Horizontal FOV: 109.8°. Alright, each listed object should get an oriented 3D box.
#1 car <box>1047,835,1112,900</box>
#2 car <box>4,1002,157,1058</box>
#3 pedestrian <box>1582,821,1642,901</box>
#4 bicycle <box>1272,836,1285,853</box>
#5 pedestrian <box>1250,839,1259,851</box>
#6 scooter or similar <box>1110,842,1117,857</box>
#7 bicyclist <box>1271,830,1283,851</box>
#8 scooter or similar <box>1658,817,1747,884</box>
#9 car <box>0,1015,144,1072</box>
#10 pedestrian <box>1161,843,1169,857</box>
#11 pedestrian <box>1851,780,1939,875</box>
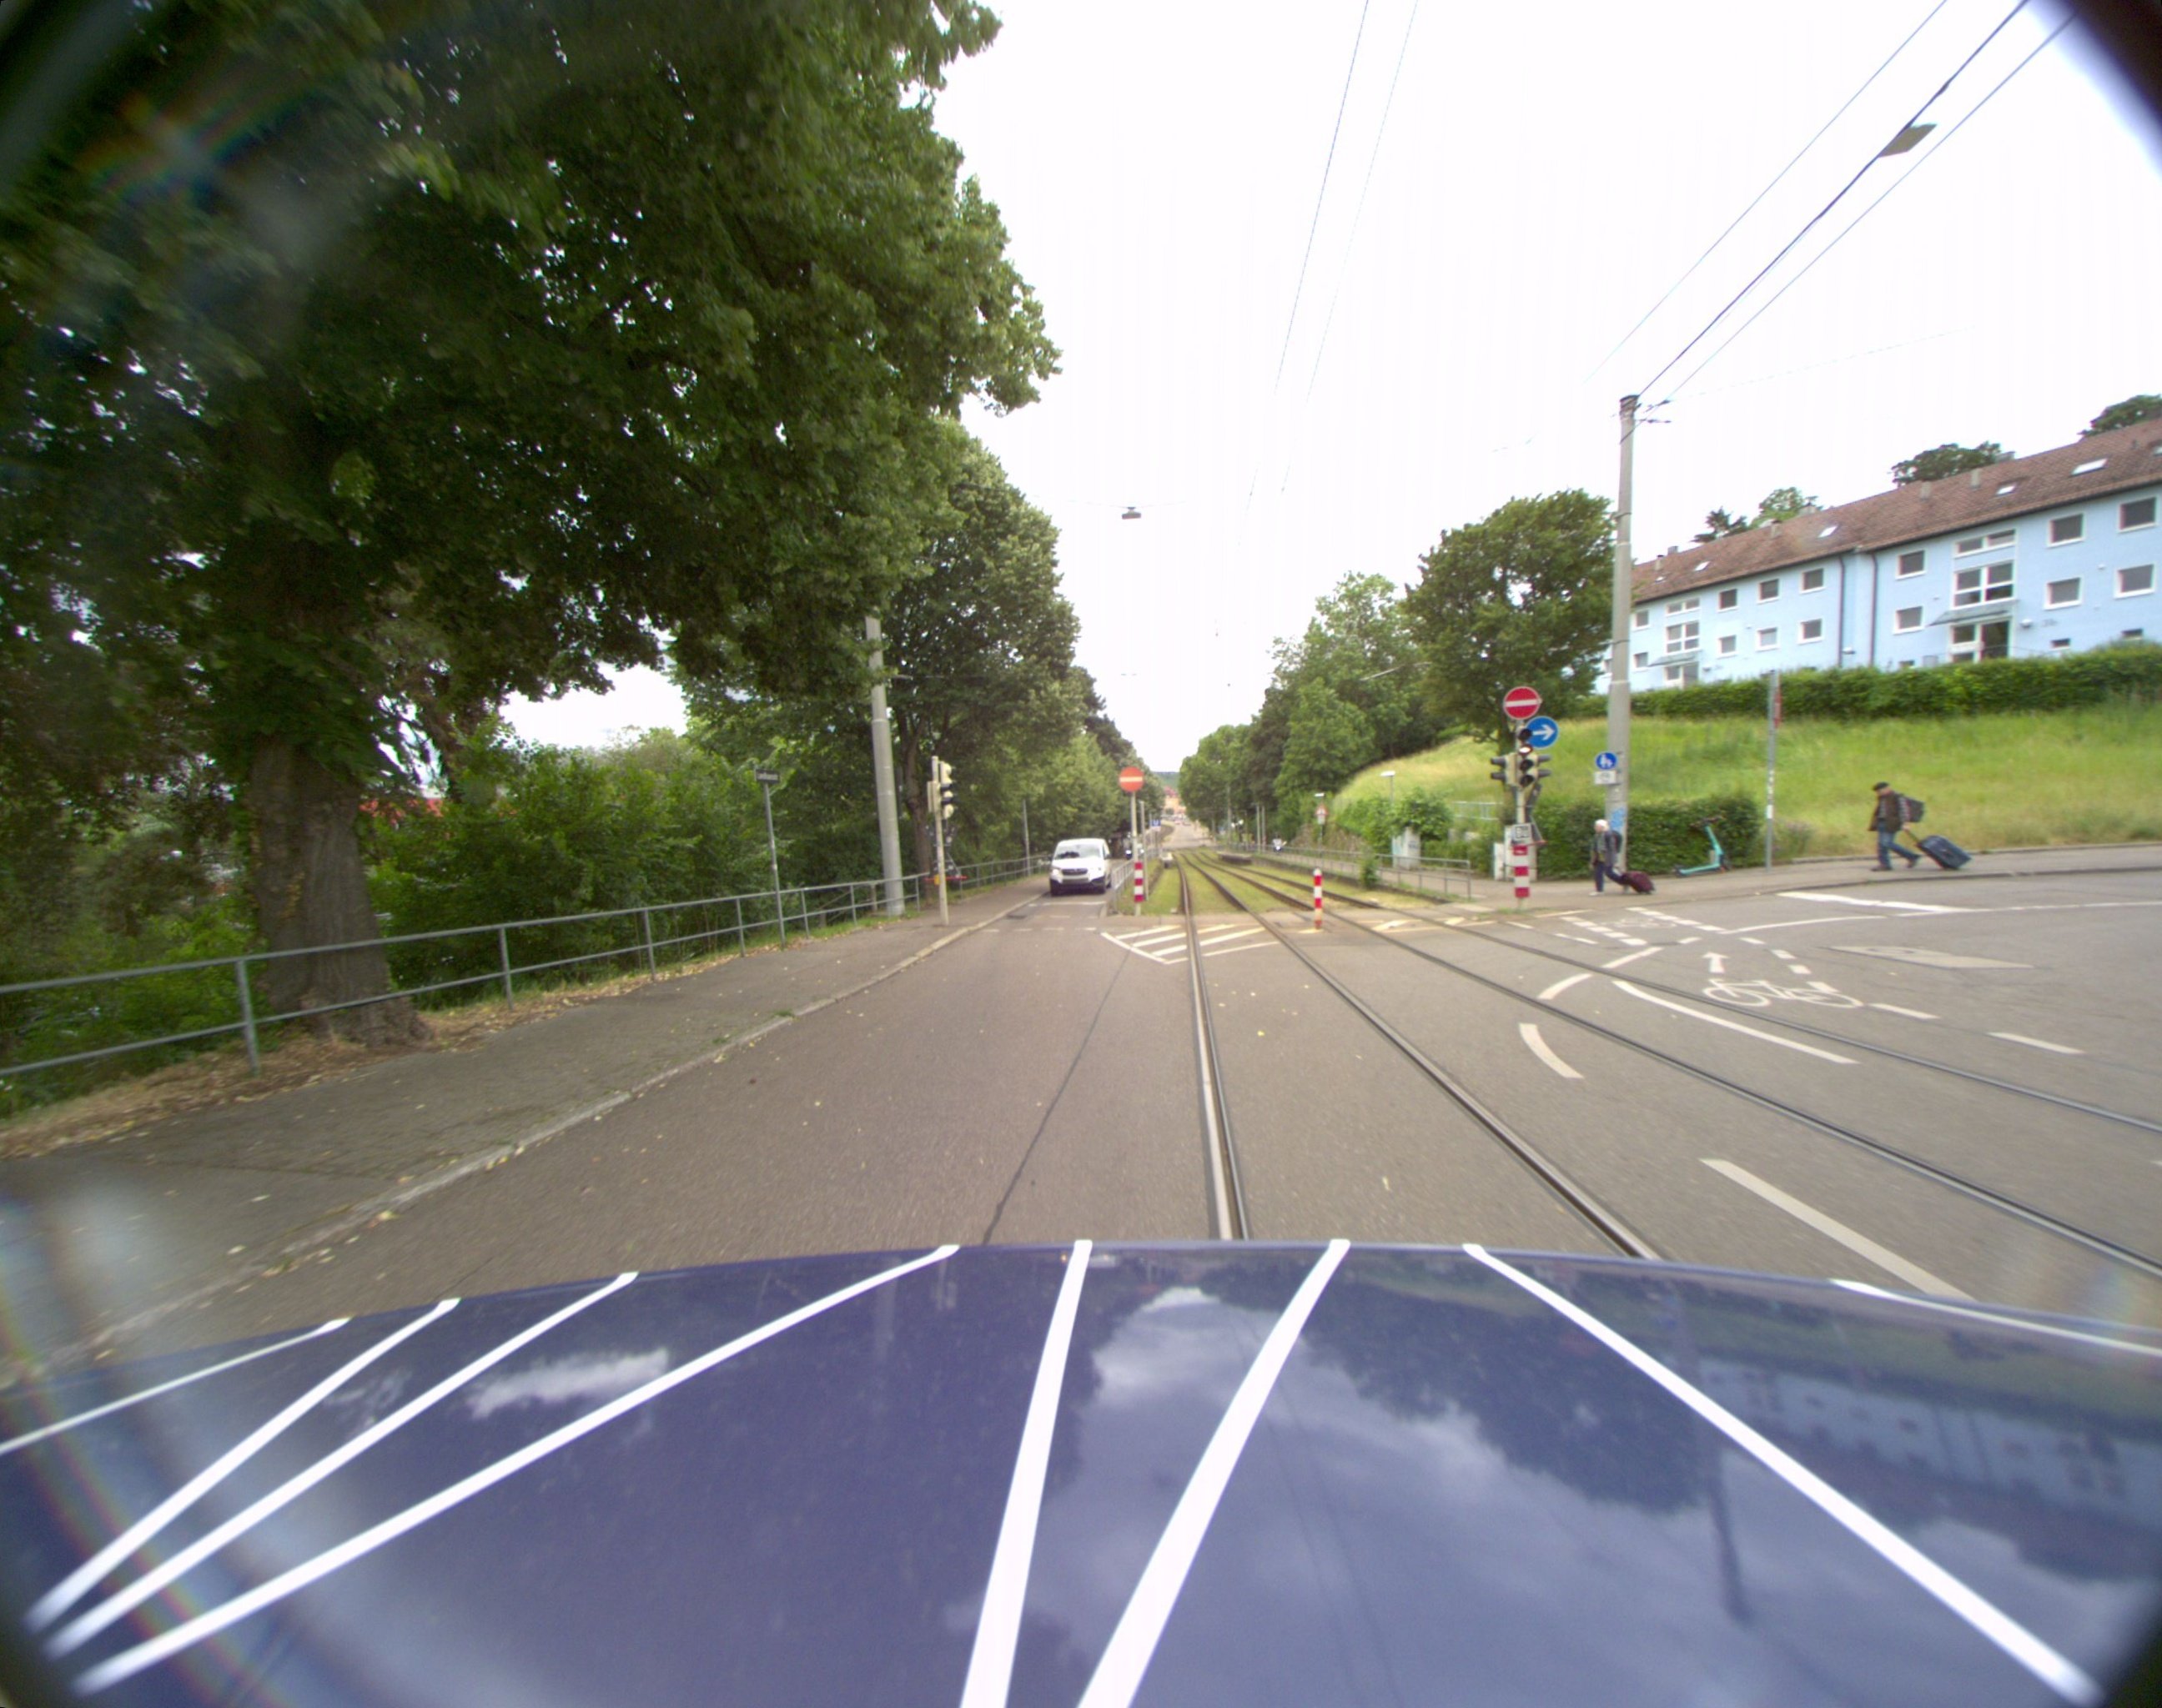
[{"bbox_3d":[0.049,0.371,25.910,1.809,1.910,4.478,-3,2,4],"label":"car"},{"bbox_3d":[-48.623,8.500,37.031,1.994,1.460,4.350,-2,2,35],"label":"car"},{"bbox_3d":[10.807,0.132,15.499,0.752,1.565,0.757,-3,2,14],"label":"pedestrian"},{"bbox_3d":[15.190,-0.751,58.544,0.751,1.233,2.868,-3,0,11],"label":"bicycle"},{"bbox_3d":[21.214,-1.102,93.042,0.822,1.316,0.774,-3,2,1],"label":"pedestrian"},{"bbox_3d":[3.218,-0.456,74.995,0.431,1.377,1.455,-3,2,7],"label":"scooter or similar"},{"bbox_3d":[15.293,-1.056,59.344,0.706,1.619,1.033,-3,0,10],"label":"bicyclist"},{"bbox_3d":[13.460,-0.076,16.474,1.411,1.282,0.418,-7,2,8],"label":"scooter or similar"},{"bbox_3d":[-46.632,8.682,34.795,1.994,1.394,4.558,-1,2,41],"label":"car"},{"bbox_3d":[8.880,-0.431,80.069,0.738,1.493,0.627,-3,0,8],"label":"pedestrian"},{"bbox_3d":[15.575,-0.497,14.568,0.900,1.741,0.743,-2,2,20],"label":"pedestrian"}]
